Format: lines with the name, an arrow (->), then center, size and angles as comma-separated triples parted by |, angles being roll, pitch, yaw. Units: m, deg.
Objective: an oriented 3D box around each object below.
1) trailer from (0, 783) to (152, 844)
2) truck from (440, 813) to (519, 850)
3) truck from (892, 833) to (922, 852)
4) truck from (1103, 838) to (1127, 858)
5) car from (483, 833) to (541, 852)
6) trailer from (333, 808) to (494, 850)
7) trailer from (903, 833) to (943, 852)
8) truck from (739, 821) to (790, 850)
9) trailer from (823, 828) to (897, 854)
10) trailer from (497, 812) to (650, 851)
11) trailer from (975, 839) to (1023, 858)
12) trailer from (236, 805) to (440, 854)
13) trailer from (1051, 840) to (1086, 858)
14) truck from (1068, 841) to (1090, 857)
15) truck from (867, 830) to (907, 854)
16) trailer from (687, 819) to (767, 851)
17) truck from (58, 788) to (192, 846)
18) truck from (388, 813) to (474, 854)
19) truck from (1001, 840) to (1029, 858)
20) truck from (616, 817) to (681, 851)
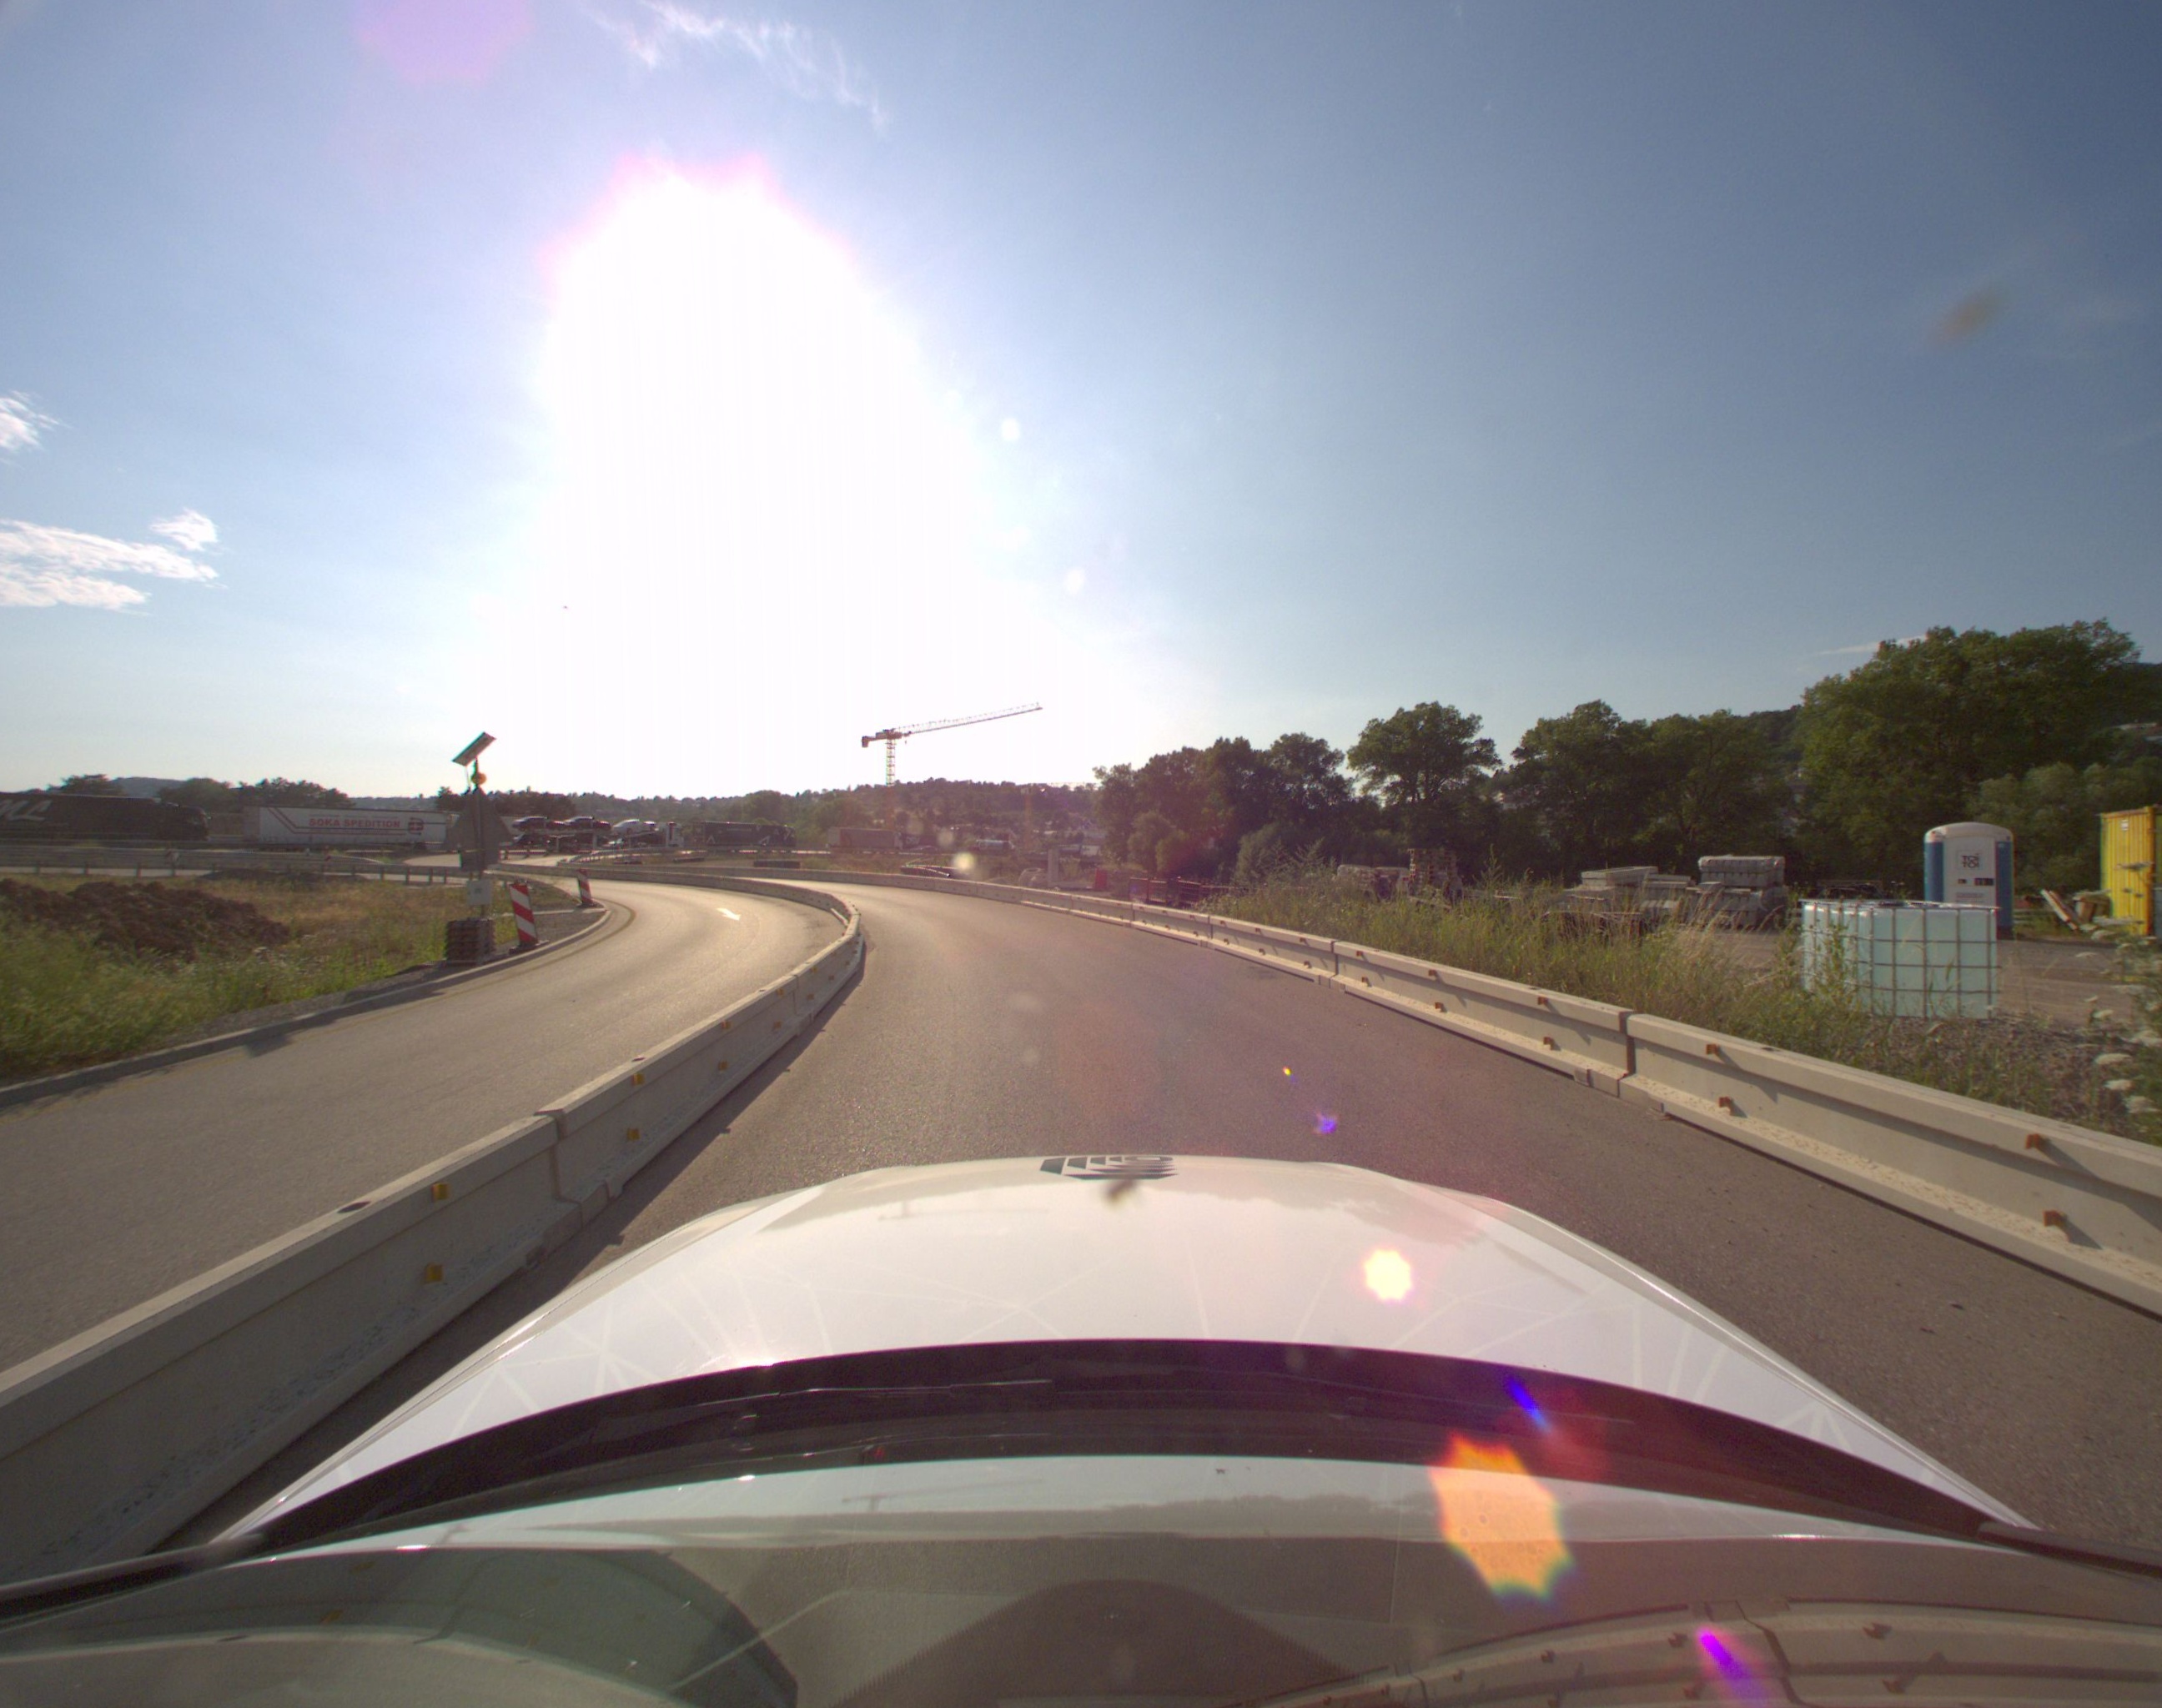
trailer -> -74.849, -2.873, 56.313 | 2.458, 4.061, 13.708 | 2, 0, 25
truck -> -69.148, -2.551, 93.777 | 2.823, 3.996, 6.662 | 1, 0, 25
truck -> -35.093, -2.330, 164.201 | 2.969, 3.727, 5.720 | 0, -1, 25
truck -> 10.124, -1.681, 241.612 | 3.135, 5.871, 10.737 | 0, -1, 26
car -> -64.767, -1.312, 92.854 | 2.010, 1.980, 5.008 | 3, 1, 26
trailer -> -71.744, -2.569, 88.194 | 2.831, 3.996, 13.552 | 1, 0, 25
trailer -> -32.671, -2.275, 169.195 | 2.979, 3.752, 9.625 | 0, -1, 26
truck -> -46.128, -2.625, 118.799 | 2.859, 3.996, 6.663 | 1, 0, 26
trailer -> -37.217, -2.139, 138.248 | 3.354, 3.996, 14.828 | 1, 0, 25
trailer -> -57.846, -2.448, 93.789 | 2.831, 3.996, 15.835 | 1, 0, 25
trailer -> -17.854, -1.104, 179.202 | 3.354, 3.996, 14.828 | 1, 0, 25
trailer -> -66.903, -2.062, 74.106 | 2.458, 3.878, 13.707 | 2, 0, 24
trailer -> -3.169, -1.321, 211.598 | 3.076, 4.314, 14.332 | 1, 0, 25
truck -> -0.522, -1.281, 217.288 | 3.070, 4.285, 6.662 | 1, 0, 25
truck -> -34.368, -2.065, 144.444 | 3.313, 3.996, 6.662 | 1, 0, 25
trailer -> -48.923, -2.575, 113.115 | 2.932, 4.092, 10.855 | 0, 0, 26
truck -> -72.307, -2.720, 61.761 | 2.458, 4.060, 6.046 | 2, 0, 25
truck -> -64.045, -1.968, 80.379 | 2.458, 3.878, 6.045 | 2, 0, 24
truck -> -15.020, -1.036, 185.398 | 3.359, 3.996, 6.662 | 1, 0, 25
truck -> -54.066, -2.405, 102.004 | 2.823, 3.996, 6.662 | 1, 0, 25
